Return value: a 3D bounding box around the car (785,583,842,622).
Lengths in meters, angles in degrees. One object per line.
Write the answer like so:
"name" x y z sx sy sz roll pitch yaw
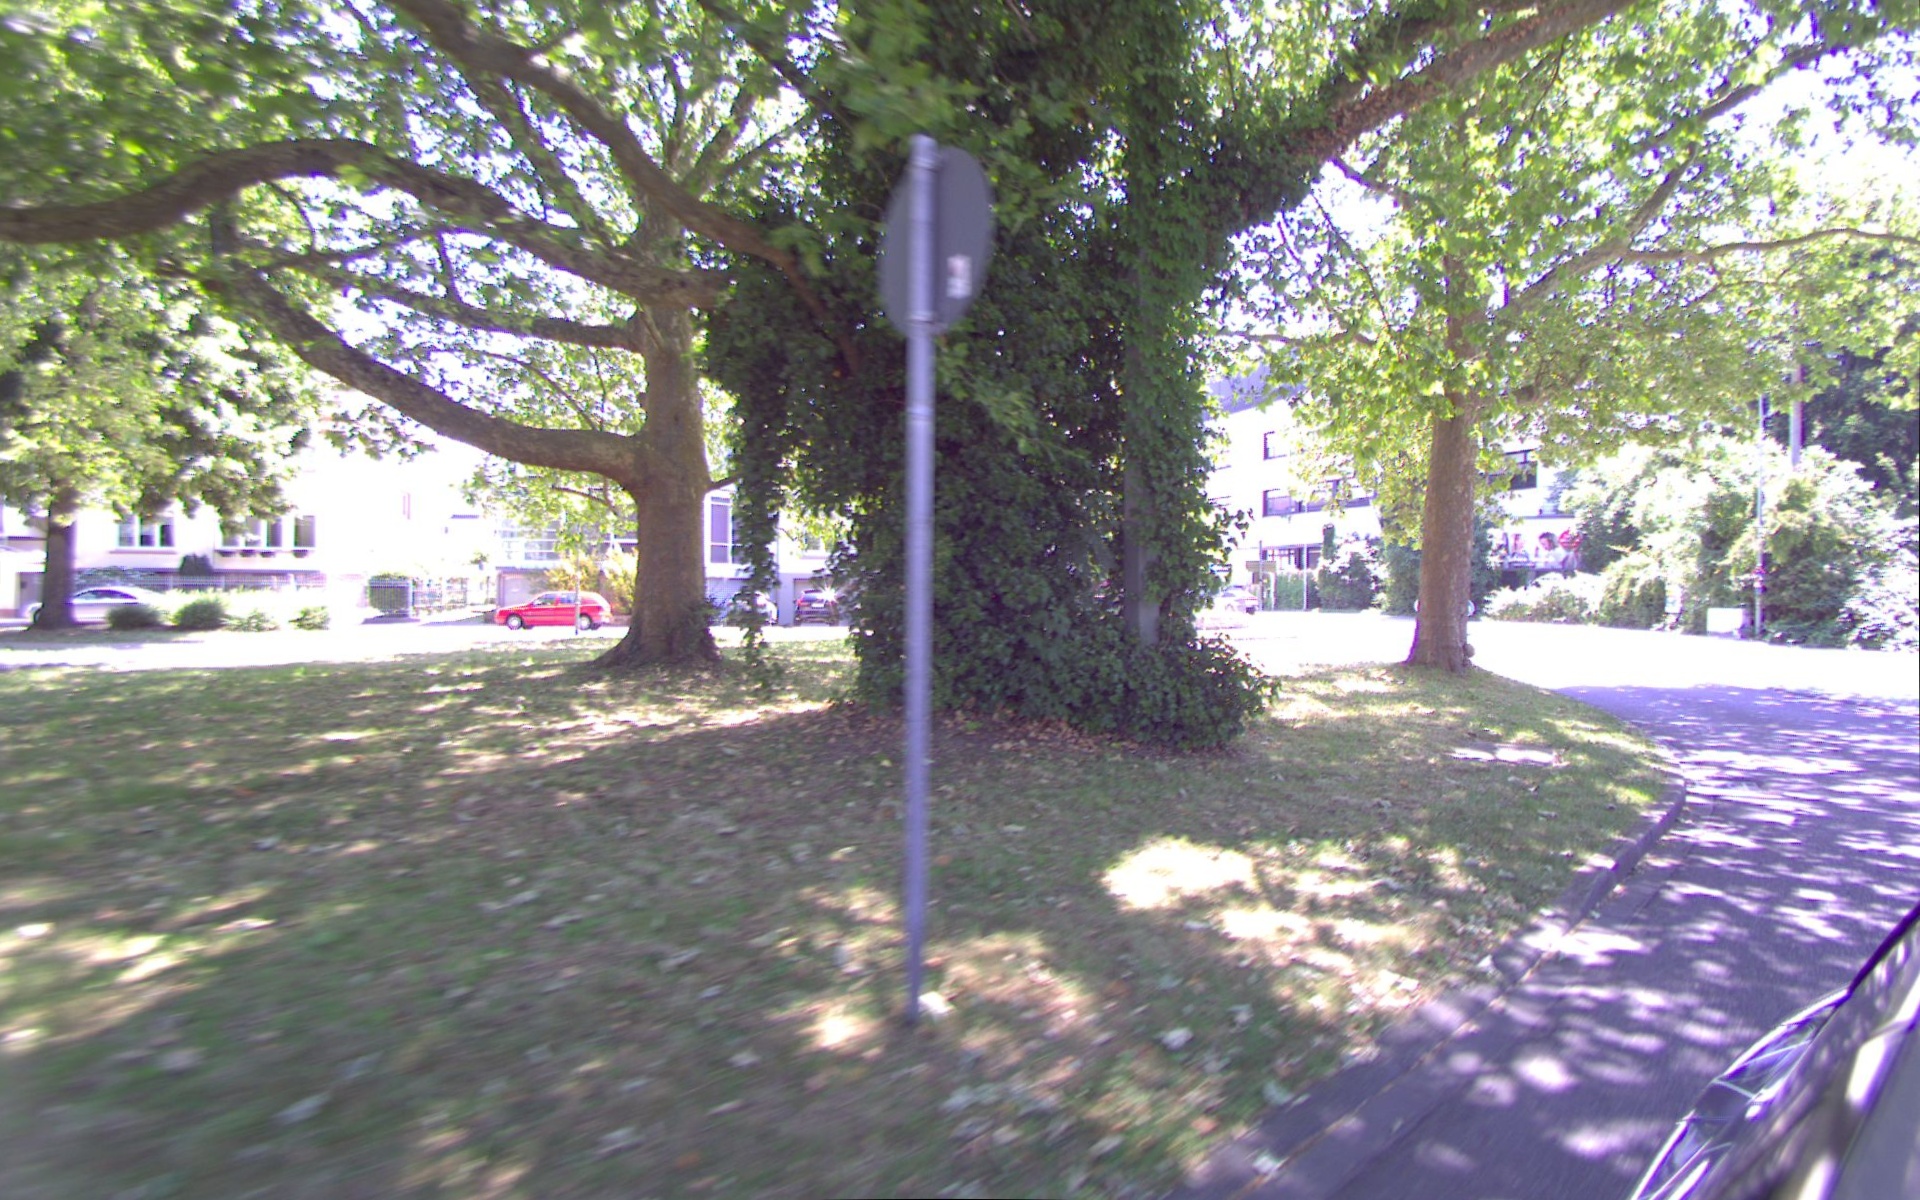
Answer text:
"car" -6.359 0.058 43.693 1.958 1.588 4.009 1 1 -15

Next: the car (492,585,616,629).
"car" -14.789 0.259 37.065 3.917 1.543 1.756 1 -1 -9

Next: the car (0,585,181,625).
"car" -30.521 0.141 35.635 4.618 1.303 1.674 -1 1 -10

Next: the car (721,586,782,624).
"car" -8.655 0.176 42.268 1.960 1.409 4.004 -1 1 -4

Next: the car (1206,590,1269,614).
"car" 18.277 0.116 66.859 1.811 1.550 4.347 0 0 -19
